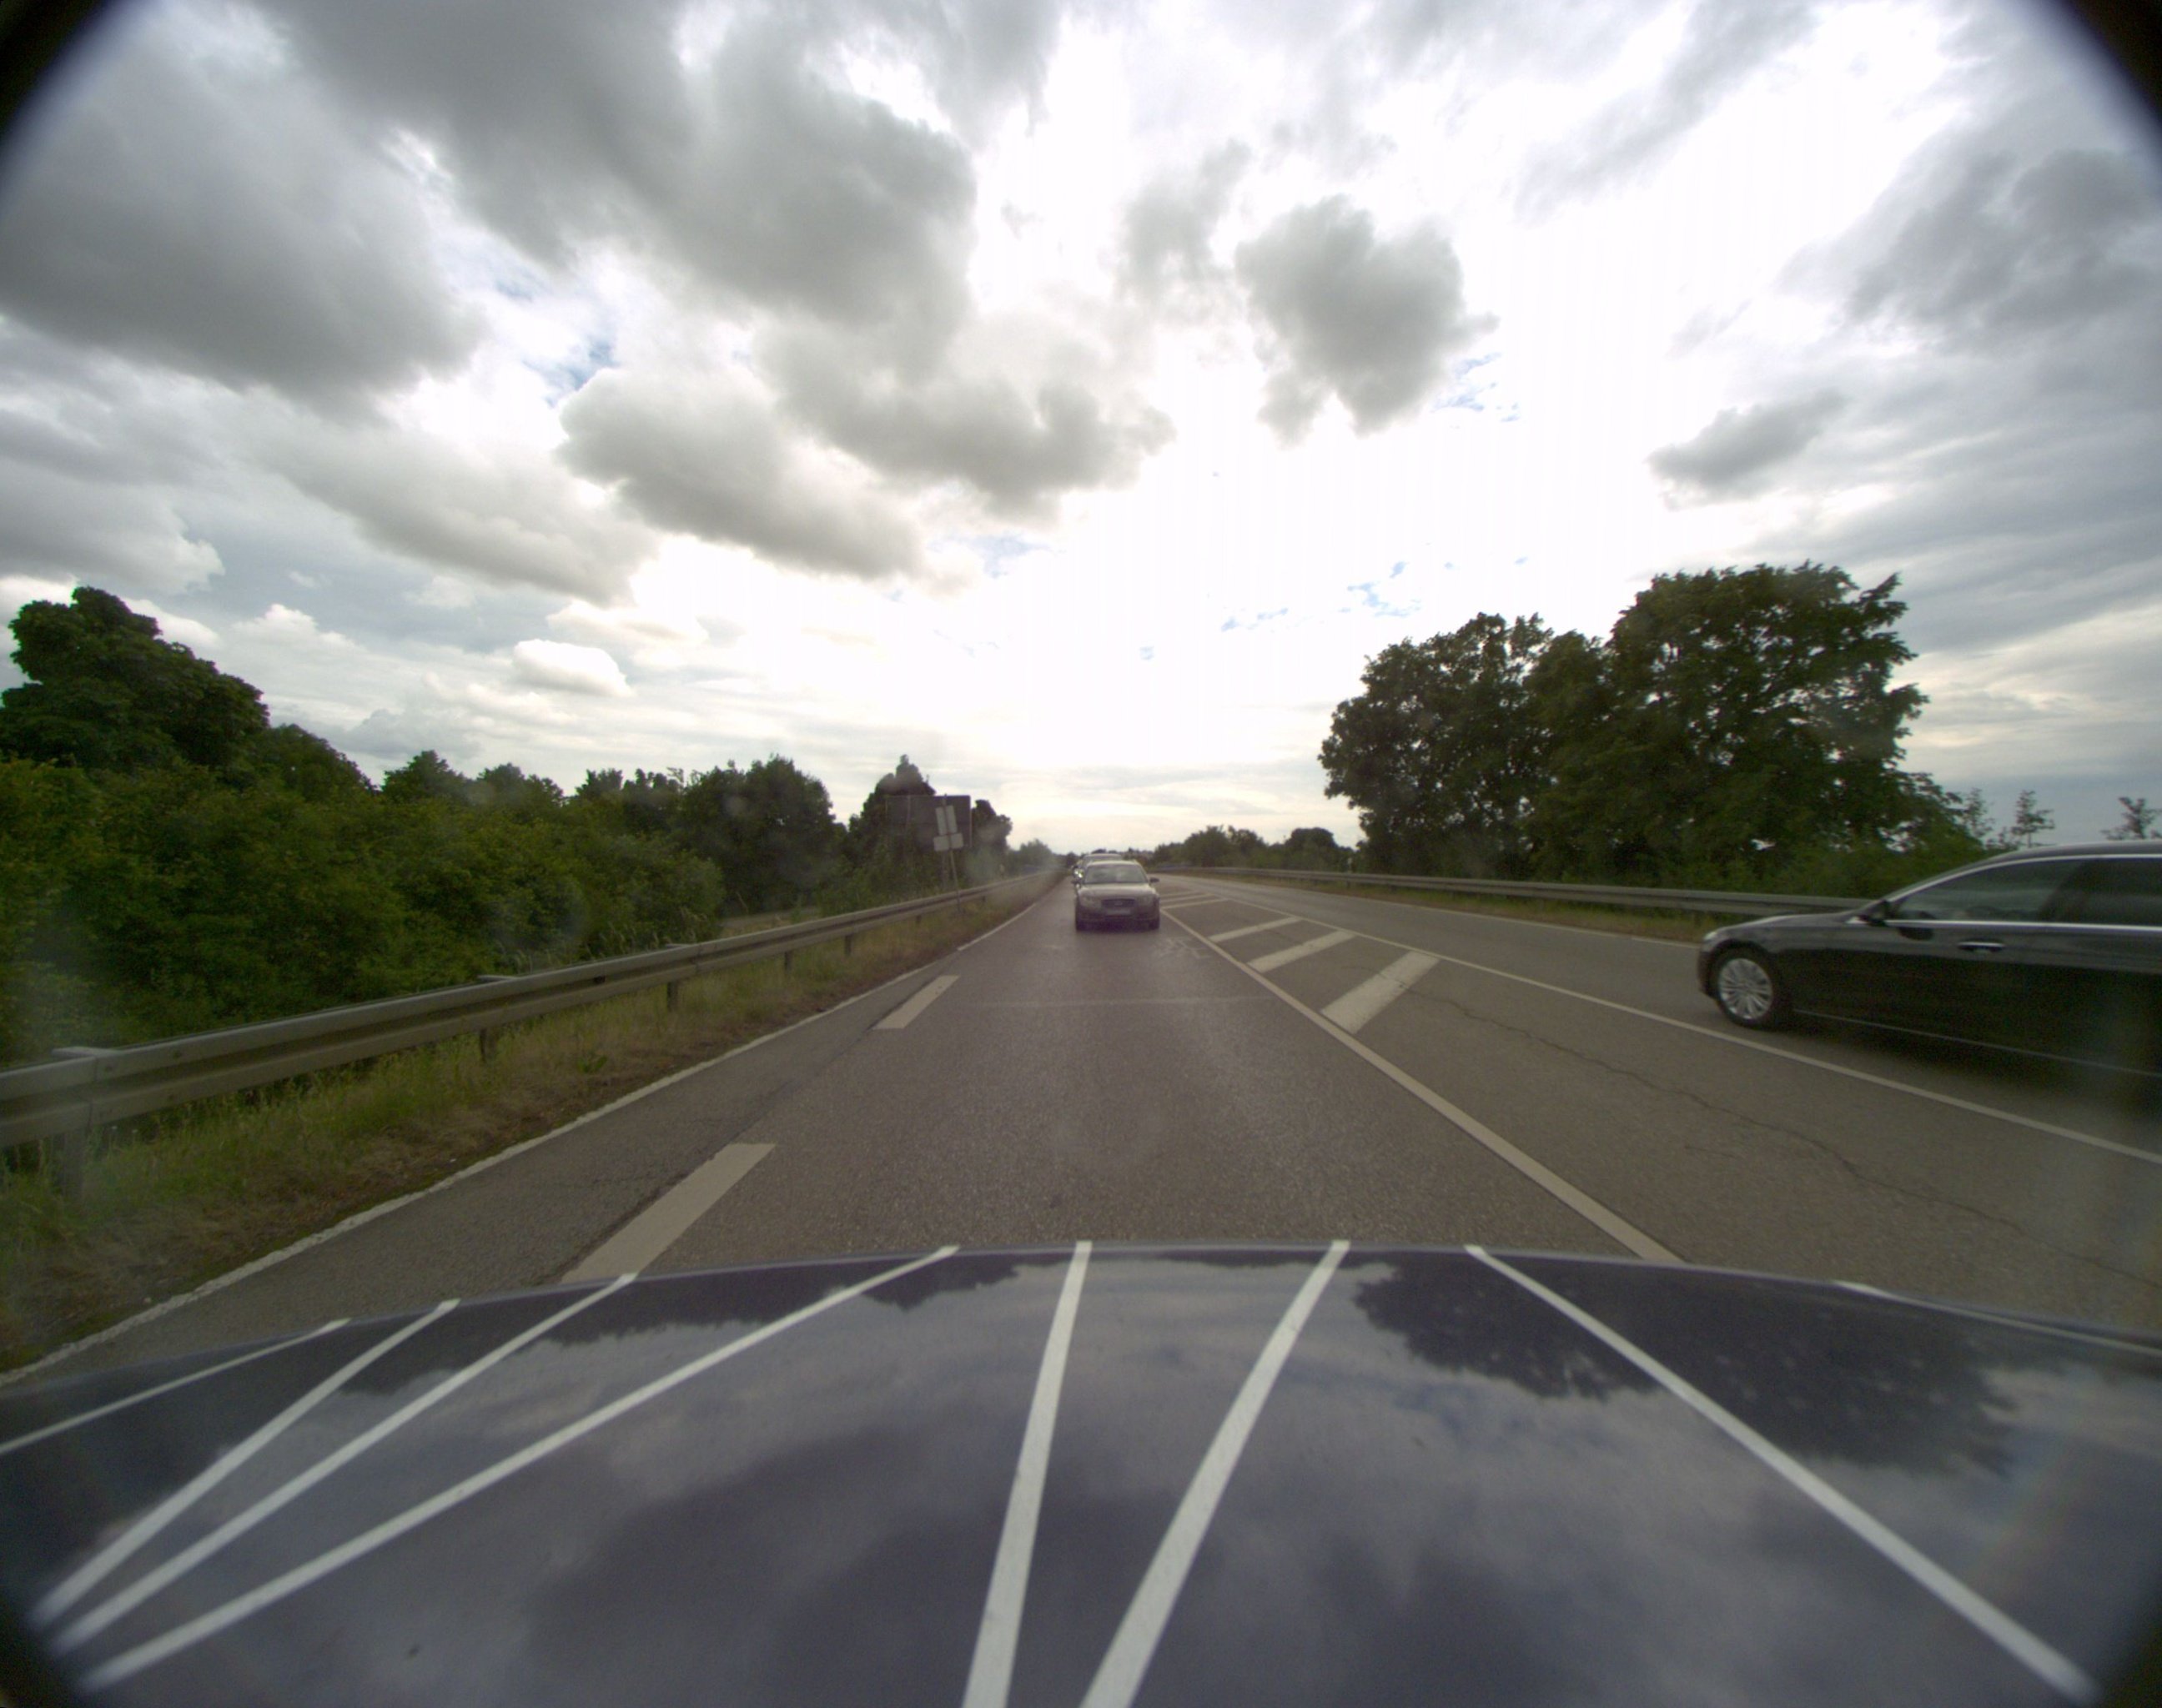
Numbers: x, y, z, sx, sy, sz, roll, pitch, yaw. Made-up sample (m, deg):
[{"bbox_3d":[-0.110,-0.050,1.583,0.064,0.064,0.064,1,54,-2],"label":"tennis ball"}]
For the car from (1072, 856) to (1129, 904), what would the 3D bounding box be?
[{"bbox_3d":[0.657,0.856,27.017,1.834,1.537,4.035,-1,0,1],"label":"car"}]

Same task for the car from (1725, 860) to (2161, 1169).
[{"bbox_3d":[6.015,0.781,3.976,1.675,1.421,4.257,-1,0,0],"label":"car"}]

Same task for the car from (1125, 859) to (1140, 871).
[{"bbox_3d":[7.031,1.482,104.081,1.834,1.537,4.035,-1,0,1],"label":"car"}]

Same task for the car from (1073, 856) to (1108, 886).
[{"bbox_3d":[0.519,0.916,42.500,1.834,1.537,4.035,-1,0,1],"label":"car"}]

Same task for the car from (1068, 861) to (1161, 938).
[{"bbox_3d":[0.686,0.918,16.909,1.784,1.442,4.035,-1,0,1],"label":"car"}]

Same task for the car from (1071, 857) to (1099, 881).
[{"bbox_3d":[0.299,0.996,52.229,1.834,1.537,4.035,-1,0,1],"label":"car"}]
